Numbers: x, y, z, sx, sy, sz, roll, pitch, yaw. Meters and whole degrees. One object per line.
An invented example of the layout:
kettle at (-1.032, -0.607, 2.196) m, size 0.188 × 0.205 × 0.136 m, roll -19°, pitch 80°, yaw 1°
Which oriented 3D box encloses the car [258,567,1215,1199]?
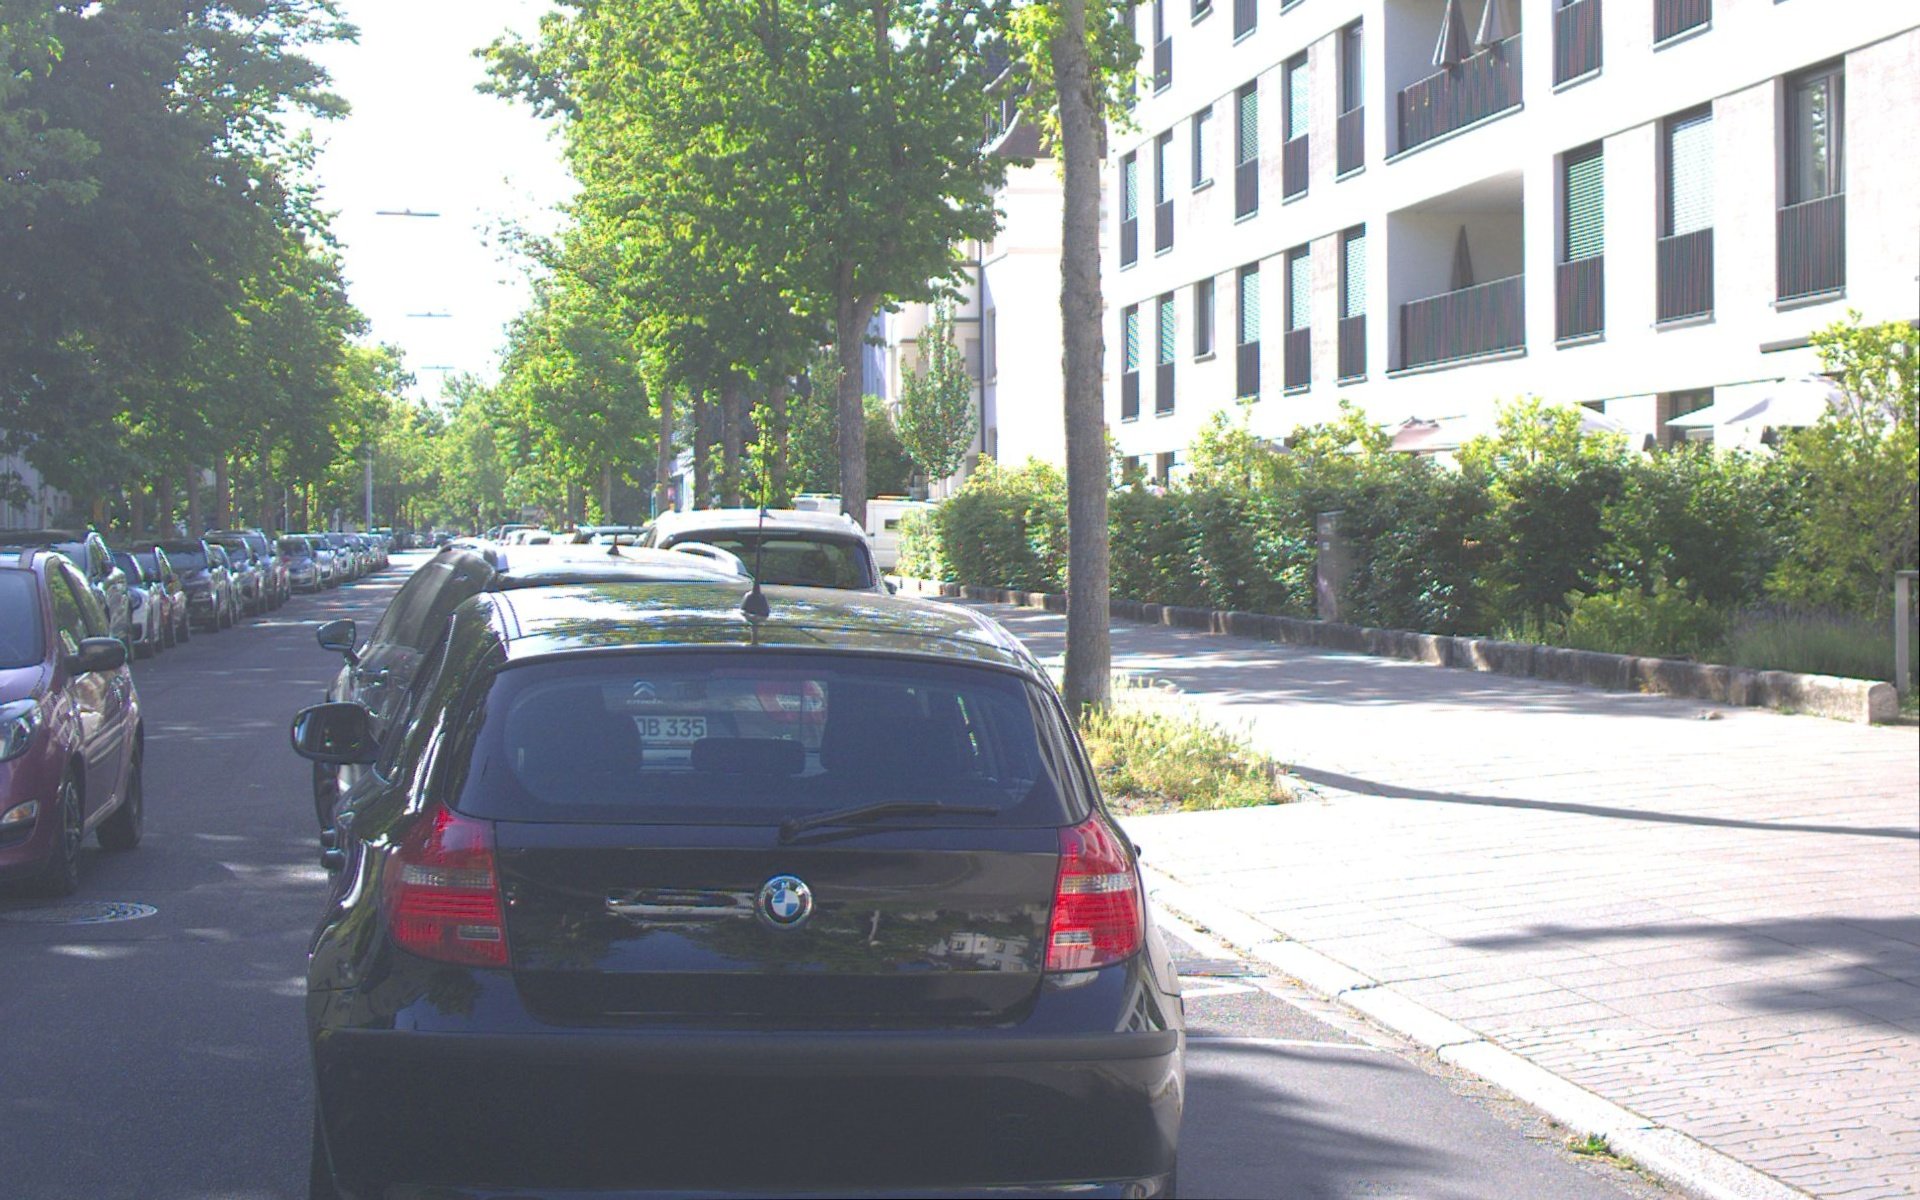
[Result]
car at (-0.617, 0.666, 7.680) m, size 1.649 × 1.392 × 3.412 m, roll -1°, pitch 2°, yaw -8°

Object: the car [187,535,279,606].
car at (-15.079, -0.636, 71.413) m, size 1.612 × 1.387 × 3.867 m, roll -2°, pitch 1°, yaw -9°

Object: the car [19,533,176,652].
car at (-11.348, -0.131, 45.424) m, size 1.612 × 1.447 × 3.867 m, roll -2°, pitch 1°, yaw -9°

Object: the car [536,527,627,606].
car at (-7.514, -0.688, 68.080) m, size 1.720 × 1.475 × 3.852 m, roll 1°, pitch 1°, yaw -7°

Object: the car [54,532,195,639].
car at (-12.104, -0.240, 49.975) m, size 1.612 × 1.447 × 3.867 m, roll -2°, pitch 1°, yaw -9°

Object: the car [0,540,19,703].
car at (-9.132, 0.231, 29.336) m, size 1.612 × 1.422 × 4.059 m, roll -2°, pitch 1°, yaw -9°

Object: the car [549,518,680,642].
car at (-4.889, -0.312, 48.345) m, size 1.720 × 1.635 × 3.852 m, roll 1°, pitch 1°, yaw -7°

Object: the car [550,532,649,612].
car at (-6.676, -0.539, 63.362) m, size 1.720 × 1.374 × 3.852 m, roll 1°, pitch 1°, yaw -7°

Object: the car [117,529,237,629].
car at (-12.909, -0.373, 56.842) m, size 1.612 × 1.537 × 3.867 m, roll -2°, pitch 1°, yaw -9°

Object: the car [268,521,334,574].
car at (-18.293, -1.465, 95.559) m, size 1.612 × 1.387 × 3.867 m, roll -2°, pitch 1°, yaw -9°

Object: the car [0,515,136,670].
car at (-10.568, -0.122, 39.771) m, size 1.612 × 1.673 × 4.235 m, roll -2°, pitch 1°, yaw -9°

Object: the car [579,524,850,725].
car at (-2.079, 0.143, 28.094) m, size 1.693 × 1.518 × 4.001 m, roll 0°, pitch 1°, yaw -12°

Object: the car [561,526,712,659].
car at (-4.031, -0.127, 42.399) m, size 1.720 × 1.523 × 4.001 m, roll 1°, pitch 1°, yaw -7°

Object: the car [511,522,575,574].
car at (-12.472, -1.580, 103.026) m, size 1.720 × 1.475 × 3.852 m, roll -1°, pitch 1°, yaw -5°

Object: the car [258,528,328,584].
car at (-17.476, -1.161, 90.198) m, size 1.612 × 1.387 × 3.867 m, roll -2°, pitch 1°, yaw -9°

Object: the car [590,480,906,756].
car at (-1.485, 0.080, 22.498) m, size 1.847 × 1.625 × 4.411 m, roll 0°, pitch 1°, yaw -6°

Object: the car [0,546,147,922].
car at (-4.501, 0.508, 14.796) m, size 1.505 × 1.421 × 3.178 m, roll -1°, pitch 2°, yaw -6°

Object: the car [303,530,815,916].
car at (-1.892, 0.422, 15.124) m, size 1.649 × 1.420 × 4.002 m, roll -1°, pitch 2°, yaw -15°

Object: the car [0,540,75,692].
car at (-9.894, 0.142, 34.375) m, size 1.612 × 1.422 × 3.727 m, roll -2°, pitch 1°, yaw -9°

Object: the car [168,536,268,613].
car at (-14.257, -0.512, 66.205) m, size 1.612 × 1.387 × 3.867 m, roll -2°, pitch 1°, yaw -9°
